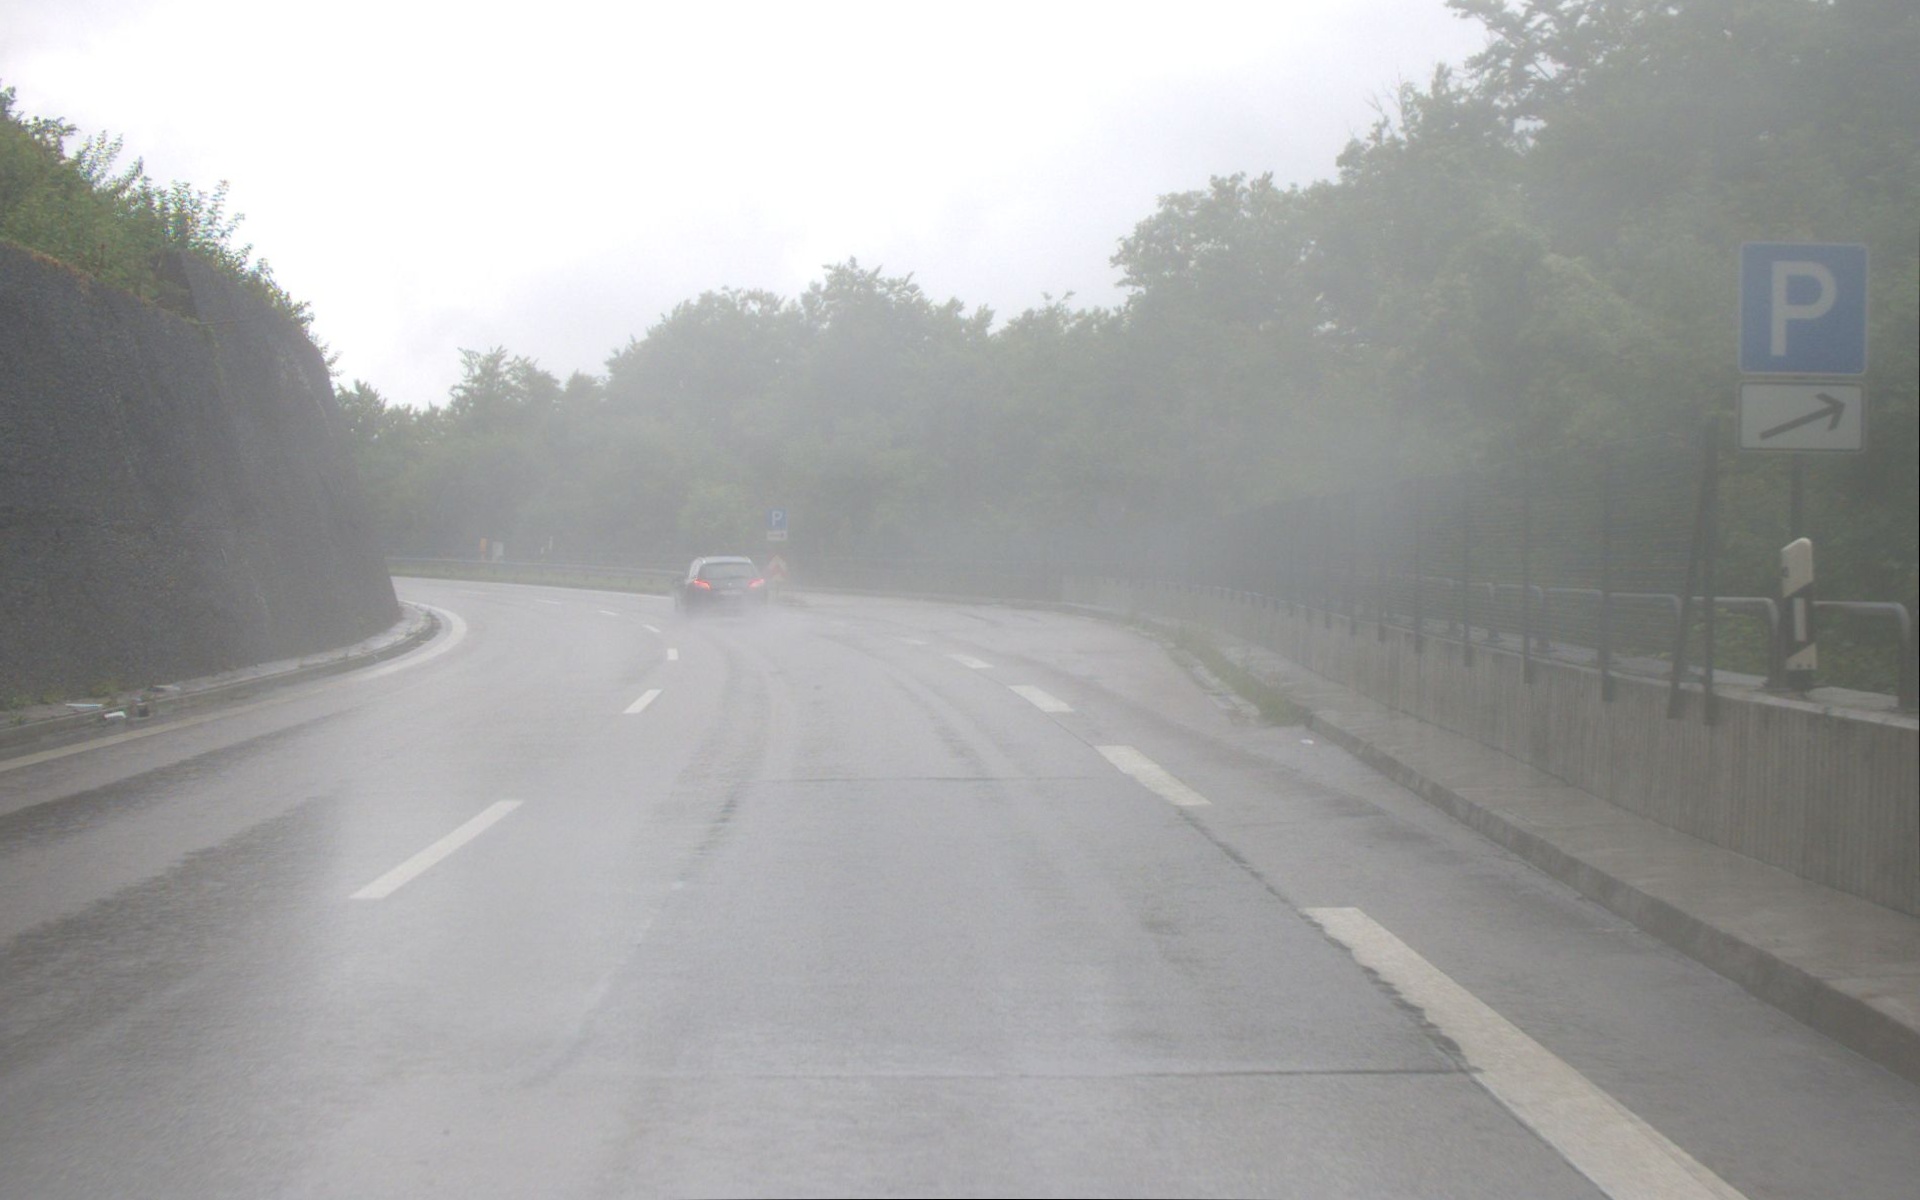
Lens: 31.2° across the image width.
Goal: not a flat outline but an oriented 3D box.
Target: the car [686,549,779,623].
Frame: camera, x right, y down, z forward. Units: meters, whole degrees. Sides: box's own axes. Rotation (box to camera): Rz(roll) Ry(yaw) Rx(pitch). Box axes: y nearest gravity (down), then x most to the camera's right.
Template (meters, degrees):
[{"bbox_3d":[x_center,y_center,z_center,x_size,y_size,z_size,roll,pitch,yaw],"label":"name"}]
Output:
[{"bbox_3d":[-4.971,-0.311,74.825,1.903,1.494,4.001,2,0,-4],"label":"car"}]
